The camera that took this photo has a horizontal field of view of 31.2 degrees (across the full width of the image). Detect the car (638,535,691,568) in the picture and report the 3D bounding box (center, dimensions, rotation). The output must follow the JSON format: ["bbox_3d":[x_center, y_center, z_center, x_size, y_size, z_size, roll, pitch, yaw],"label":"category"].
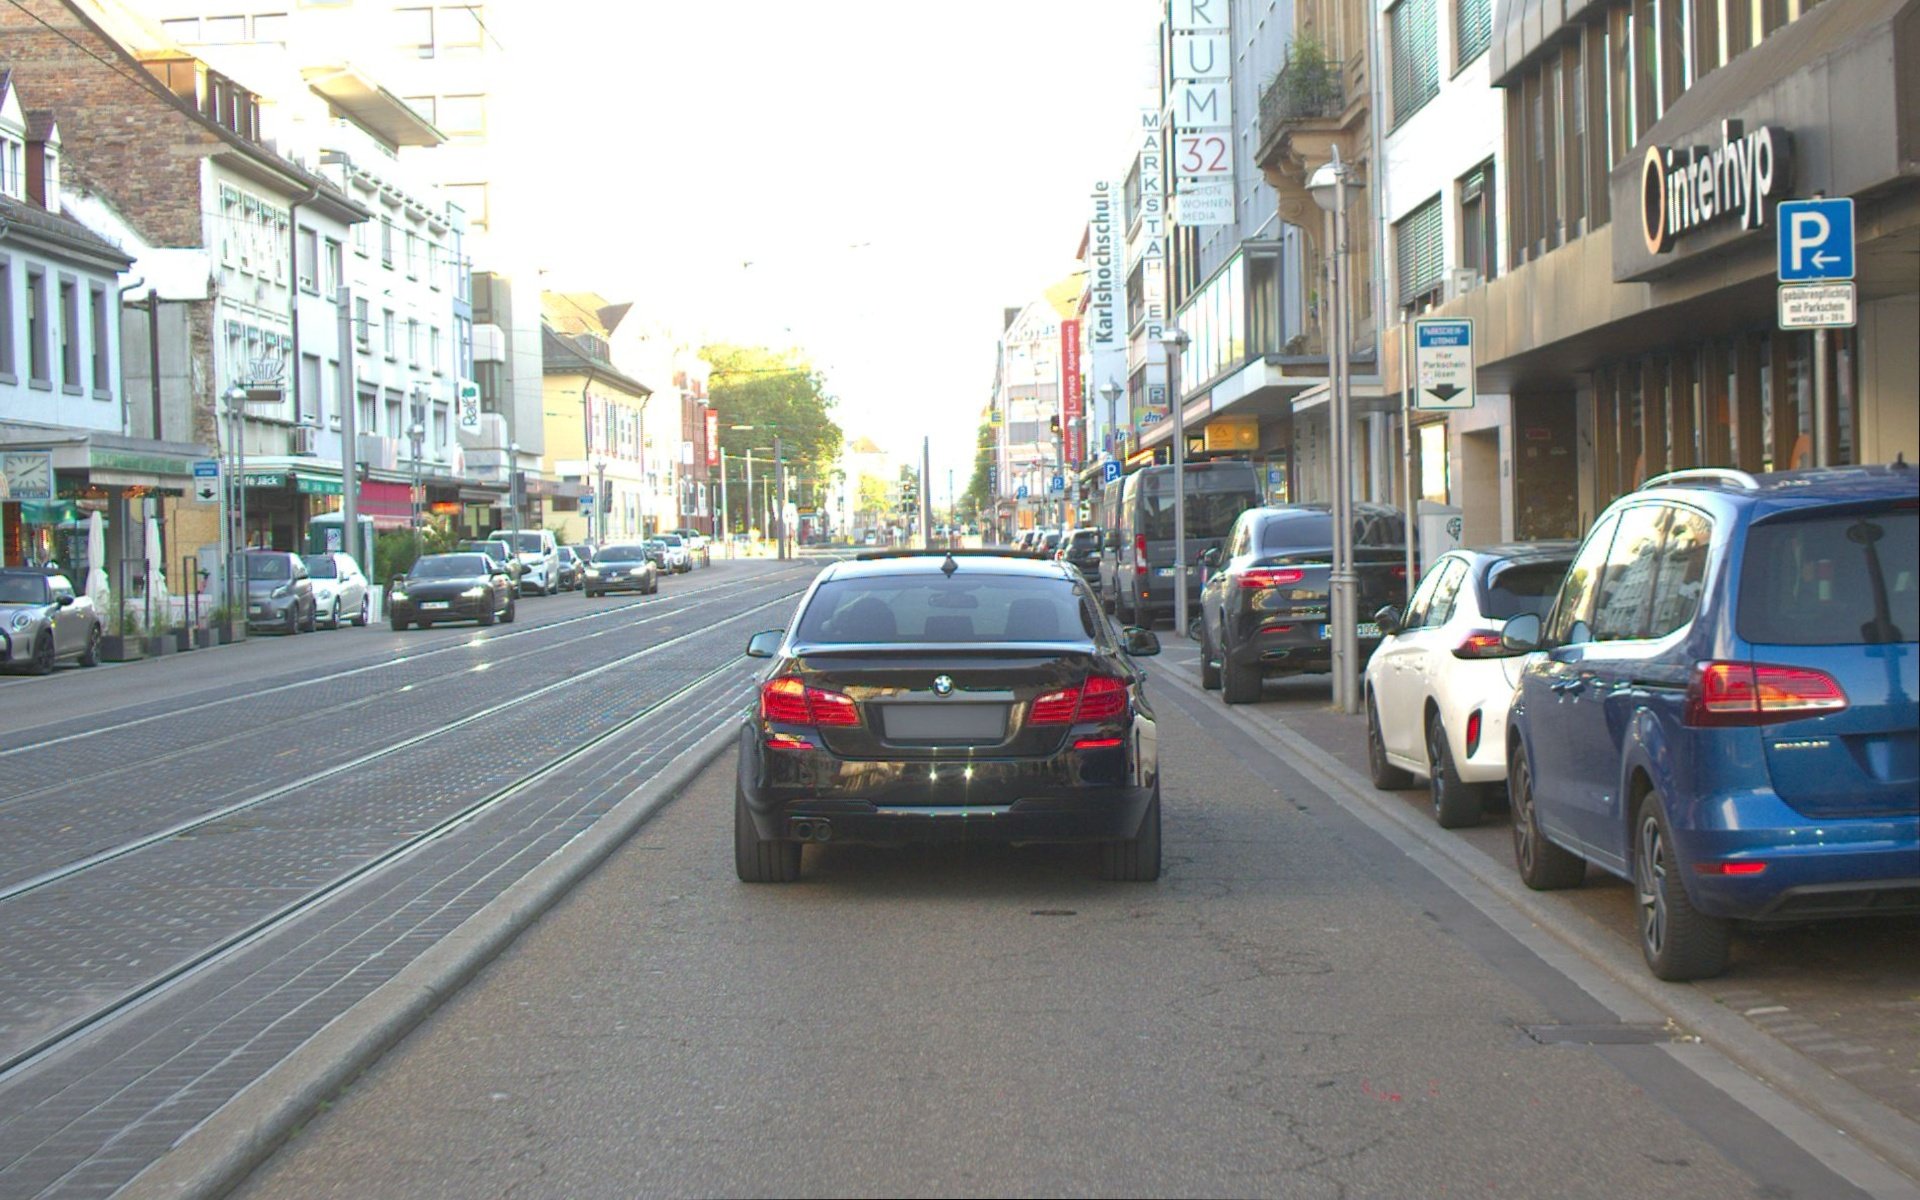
[{"bbox_3d":[-13.025,-2.143,151.686,1.928,1.430,4.246,0,1,0],"label":"car"}]

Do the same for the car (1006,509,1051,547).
[{"bbox_3d":[2.839,-2.976,142.789,1.774,1.543,3.503,-1,0,0],"label":"car"}]

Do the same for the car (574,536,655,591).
[{"bbox_3d":[-9.726,-1.053,97.079,1.691,1.448,4.465,-1,1,1],"label":"car"}]

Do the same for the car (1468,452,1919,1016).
[{"bbox_3d":[3.291,0.339,13.021,1.993,1.721,4.576,-3,1,0],"label":"car"}]

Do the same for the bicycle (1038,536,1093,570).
[{"bbox_3d":[3.611,-1.608,117.796,1.861,1.115,0.468,-1,0,2],"label":"bicycle"}]

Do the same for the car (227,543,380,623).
[{"bbox_3d":[-12.952,-0.361,68.100,1.993,1.448,4.822,-1,1,1],"label":"car"}]

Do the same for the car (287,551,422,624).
[{"bbox_3d":[-12.829,-0.287,73.057,1.993,1.448,4.330,-1,1,1],"label":"car"}]

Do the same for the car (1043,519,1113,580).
[{"bbox_3d":[3.004,-1.317,88.160,1.559,1.437,3.709,-4,1,0],"label":"car"}]

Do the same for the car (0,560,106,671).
[{"bbox_3d":[-13.126,0.188,47.583,1.598,1.435,3.812,0,1,1],"label":"car"}]

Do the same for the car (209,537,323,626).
[{"bbox_3d":[-12.781,-0.358,63.413,1.477,1.572,2.795,-2,1,0],"label":"car"}]

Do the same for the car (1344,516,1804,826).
[{"bbox_3d":[3.264,0.307,19.000,1.795,1.428,3.887,-3,2,0],"label":"car"}]

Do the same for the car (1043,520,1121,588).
[{"bbox_3d":[2.921,-1.113,82.672,1.654,1.532,3.886,-2,1,0],"label":"car"}]

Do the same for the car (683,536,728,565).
[{"bbox_3d":[-12.947,-2.511,174.866,1.928,1.430,4.246,0,1,0],"label":"car"}]

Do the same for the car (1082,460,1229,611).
[{"bbox_3d":[3.392,-1.143,60.630,2.033,2.446,5.410,-3,1,-1],"label":"car"}]

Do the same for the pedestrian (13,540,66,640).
[{"bbox_3d":[-15.389,-0.173,57.480,0.662,1.638,0.694,-1,1,1],"label":"pedestrian"}]

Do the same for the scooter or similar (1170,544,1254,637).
[{"bbox_3d":[3.415,-0.137,46.553,0.499,1.216,1.262,-1,1,37],"label":"scooter or similar"}]

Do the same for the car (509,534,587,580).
[{"bbox_3d":[-13.063,-1.378,109.273,1.928,1.430,4.246,0,1,0],"label":"car"}]

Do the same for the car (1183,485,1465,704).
[{"bbox_3d":[3.184,-0.089,30.978,1.993,1.721,4.565,-3,1,0],"label":"car"}]

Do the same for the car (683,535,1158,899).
[{"bbox_3d":[-0.105,0.474,16.416,1.953,1.493,4.465,0,0,2],"label":"car"}]

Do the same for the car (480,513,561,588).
[{"bbox_3d":[-13.107,-1.491,102.689,1.993,2.149,4.911,-1,1,-3],"label":"car"}]

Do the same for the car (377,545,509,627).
[{"bbox_3d":[-9.893,-0.294,66.140,1.993,1.448,4.649,-1,1,-2],"label":"car"}]

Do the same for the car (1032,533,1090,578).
[{"bbox_3d":[3.560,-1.557,121.309,1.903,1.543,4.000,-1,1,0],"label":"car"}]

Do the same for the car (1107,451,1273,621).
[{"bbox_3d":[3.554,-1.022,54.211,2.092,2.446,6.033,-2,1,0],"label":"car"}]
